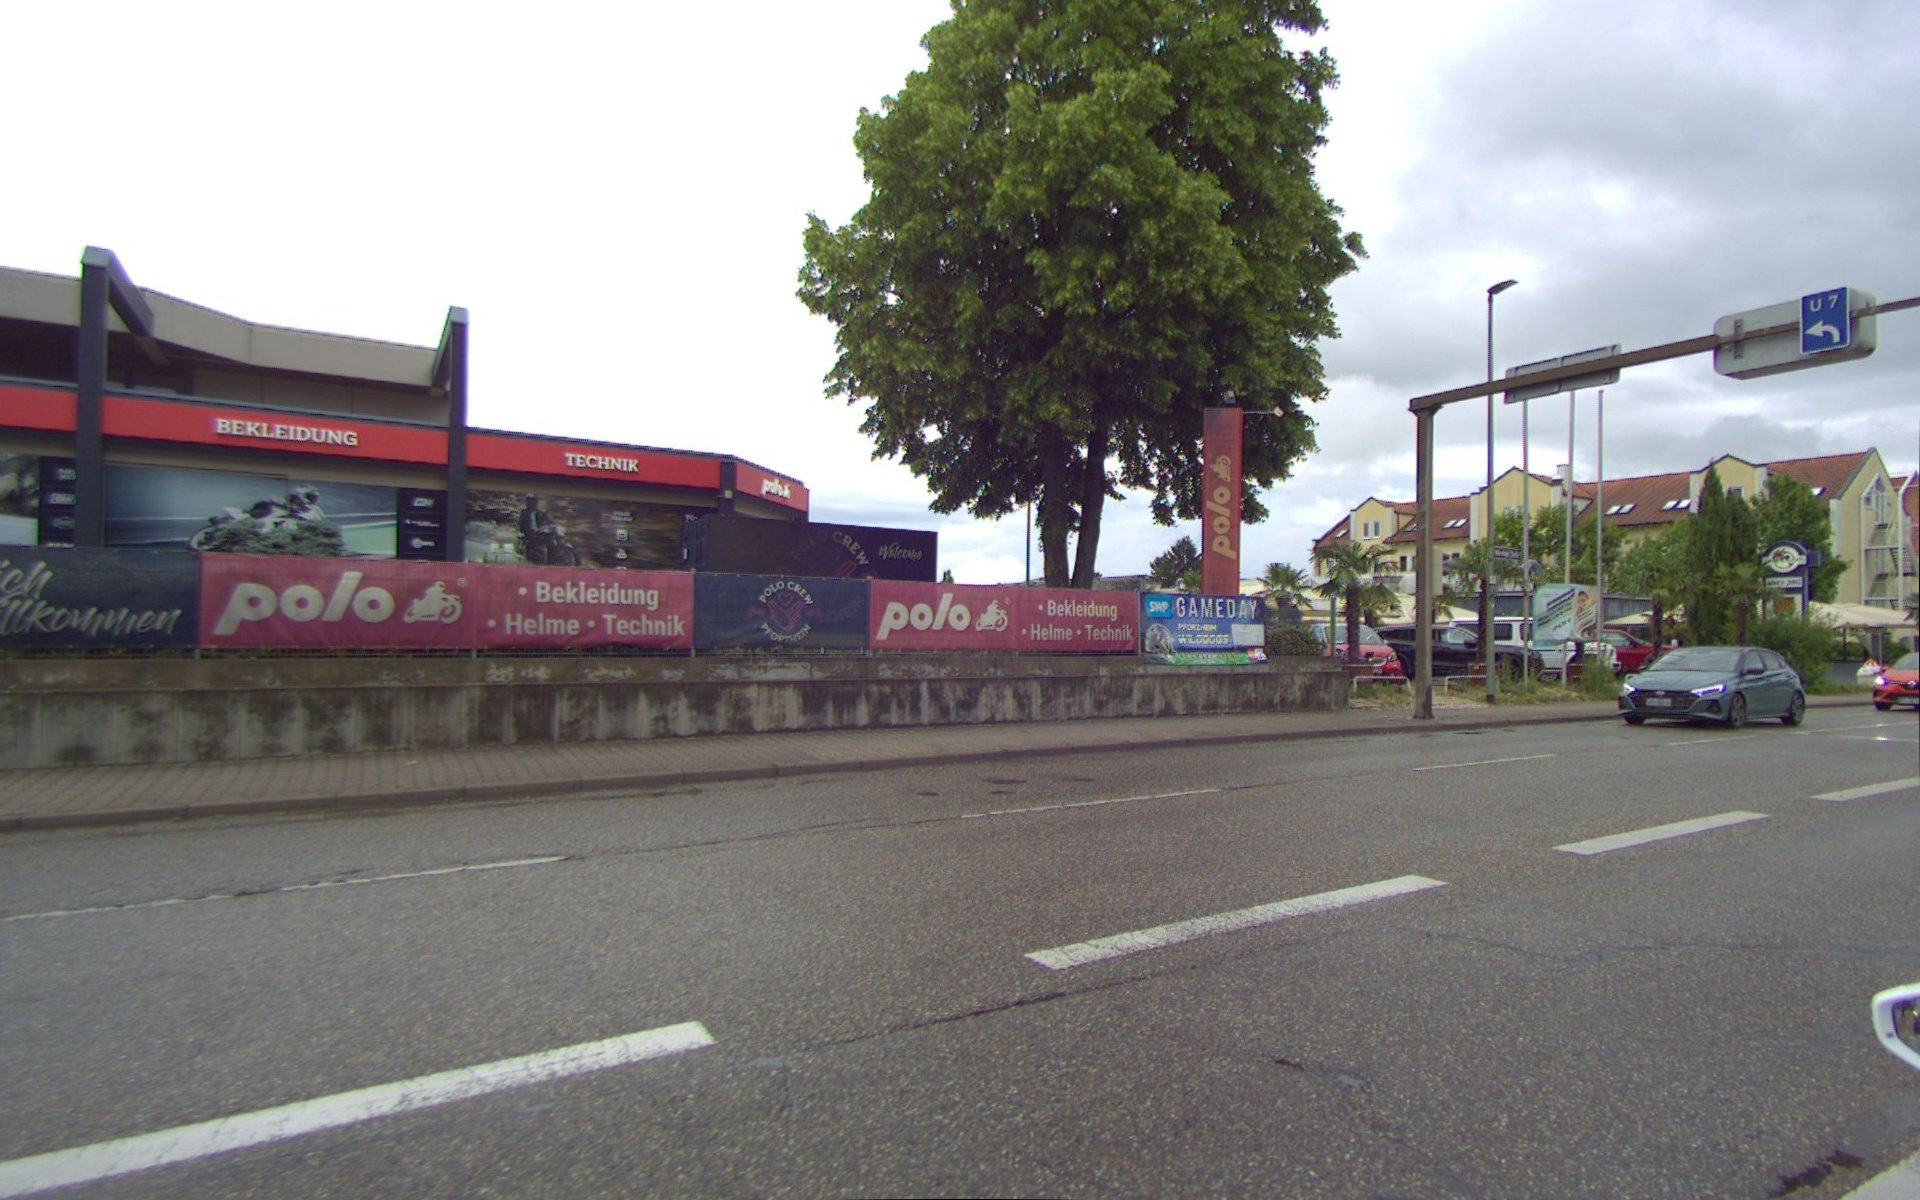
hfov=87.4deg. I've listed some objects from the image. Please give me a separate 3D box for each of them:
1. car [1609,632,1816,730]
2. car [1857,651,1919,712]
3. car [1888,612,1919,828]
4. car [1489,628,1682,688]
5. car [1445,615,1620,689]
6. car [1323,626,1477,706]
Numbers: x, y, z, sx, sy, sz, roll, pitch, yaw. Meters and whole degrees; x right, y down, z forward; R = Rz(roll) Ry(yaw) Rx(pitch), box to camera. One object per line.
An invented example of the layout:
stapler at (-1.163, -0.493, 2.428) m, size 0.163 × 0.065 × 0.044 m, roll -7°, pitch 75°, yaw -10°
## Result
car at (13.919, 1.413, 18.547) m, size 3.954 × 1.639 × 1.668 m, roll 1°, pitch -2°, yaw -31°
car at (23.657, 1.954, 24.467) m, size 3.901 × 1.349 × 1.615 m, roll 1°, pitch -2°, yaw -31°
car at (9.603, 0.958, 8.252) m, size 4.248 × 1.671 × 1.830 m, roll 1°, pitch -1°, yaw -31°
car at (19.386, 1.821, 31.327) m, size 4.927 × 1.724 × 1.996 m, roll -2°, pitch -6°, yaw 32°
car at (16.842, 1.530, 29.681) m, size 4.324 × 2.040 × 1.996 m, roll -2°, pitch -3°, yaw 32°
car at (9.269, 1.370, 21.456) m, size 1.633 × 1.523 × 3.619 m, roll 1°, pitch -3°, yaw -1°
